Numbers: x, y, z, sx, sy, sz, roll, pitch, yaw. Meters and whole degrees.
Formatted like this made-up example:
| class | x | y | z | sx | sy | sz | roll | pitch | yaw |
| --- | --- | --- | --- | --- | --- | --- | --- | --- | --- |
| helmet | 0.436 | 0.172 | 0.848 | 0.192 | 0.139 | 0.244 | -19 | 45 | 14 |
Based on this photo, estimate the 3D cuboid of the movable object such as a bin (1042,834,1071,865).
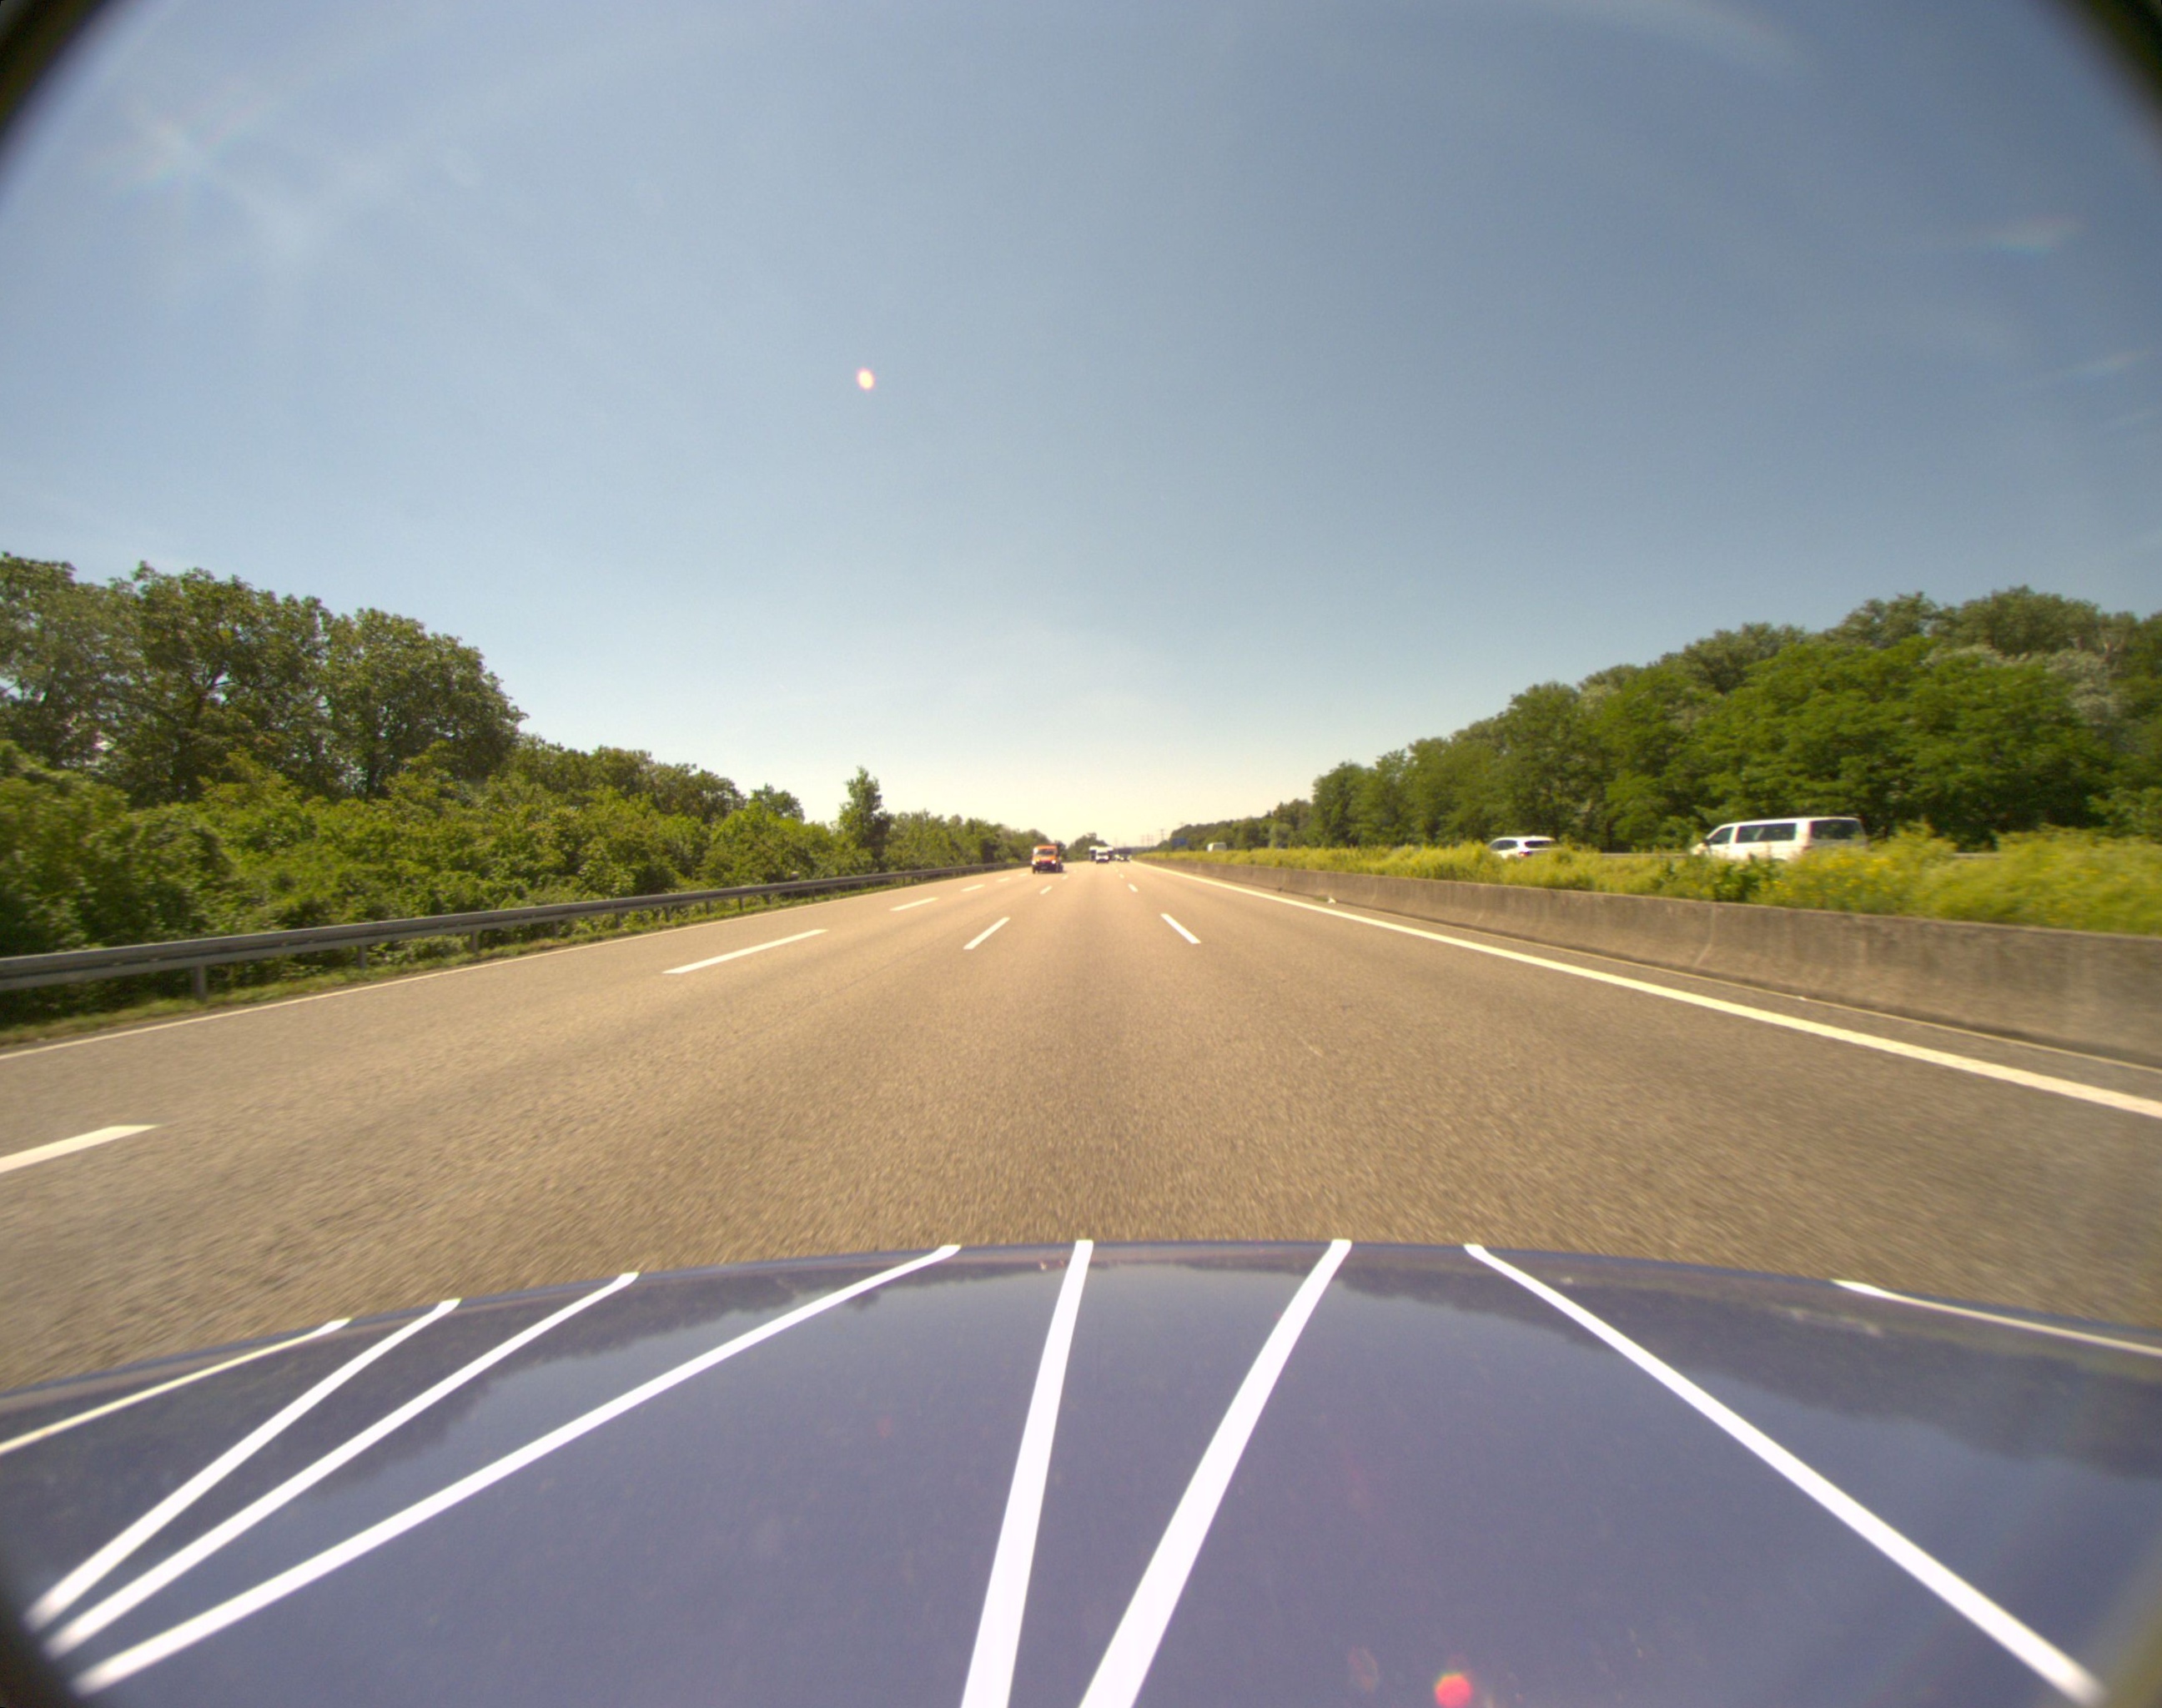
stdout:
| class | x | y | z | sx | sy | sz | roll | pitch | yaw |
| --- | --- | --- | --- | --- | --- | --- | --- | --- | --- |
| movable object such as a bin | -2.312 | -0.368 | 71.916 | 2.179 | 2.799 | 4.762 | -2 | 0 | 4 |

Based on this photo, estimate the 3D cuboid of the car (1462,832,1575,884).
| class | x | y | z | sx | sy | sz | roll | pitch | yaw |
| --- | --- | --- | --- | --- | --- | --- | --- | --- | --- |
| car | 17.401 | 0.137 | 30.527 | 1.909 | 1.888 | 4.722 | -1 | 1 | 1 |

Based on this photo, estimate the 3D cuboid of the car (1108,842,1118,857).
| class | x | y | z | sx | sy | sz | roll | pitch | yaw |
| --- | --- | --- | --- | --- | --- | --- | --- | --- | --- |
| car | 9.547 | -1.377 | 225.404 | 2.796 | 4.090 | 7.306 | -2 | 1 | 2 |

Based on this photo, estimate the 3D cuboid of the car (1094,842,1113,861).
| class | x | y | z | sx | sy | sz | roll | pitch | yaw |
| --- | --- | --- | --- | --- | --- | --- | --- | --- | --- |
| car | 3.880 | -0.395 | 128.576 | 2.521 | 2.856 | 6.403 | -5 | -1 | 5 |

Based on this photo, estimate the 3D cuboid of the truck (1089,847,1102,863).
| class | x | y | z | sx | sy | sz | roll | pitch | yaw |
| --- | --- | --- | --- | --- | --- | --- | --- | --- | --- |
| truck | 3.967 | 0.408 | 208.937 | 2.990 | 4.186 | 7.596 | -3 | 0 | 5 |

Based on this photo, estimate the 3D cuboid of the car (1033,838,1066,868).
| class | x | y | z | sx | sy | sz | roll | pitch | yaw |
| --- | --- | --- | --- | --- | --- | --- | --- | --- | --- |
| car | -2.691 | -0.036 | 65.948 | 1.998 | 2.391 | 7.229 | -2 | 0 | 4 |

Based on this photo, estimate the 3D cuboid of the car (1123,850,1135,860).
| class | x | y | z | sx | sy | sz | roll | pitch | yaw |
| --- | --- | --- | --- | --- | --- | --- | --- | --- | --- |
| car | 9.482 | 0.230 | 150.483 | 1.998 | 2.002 | 4.000 | -1 | 0 | 1 |

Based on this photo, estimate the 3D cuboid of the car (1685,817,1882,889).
| class | x | y | z | sx | sy | sz | roll | pitch | yaw |
| --- | --- | --- | --- | --- | --- | --- | --- | --- | --- |
| car | 21.830 | -0.035 | 23.928 | 1.998 | 2.002 | 4.618 | -1 | 1 | 1 |

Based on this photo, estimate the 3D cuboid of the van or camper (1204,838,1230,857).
| class | x | y | z | sx | sy | sz | roll | pitch | yaw |
| --- | --- | --- | --- | --- | --- | --- | --- | --- | --- |
| van or camper | 17.661 | -0.819 | 99.094 | 2.256 | 2.373 | 6.760 | -1 | 0 | 2 |
